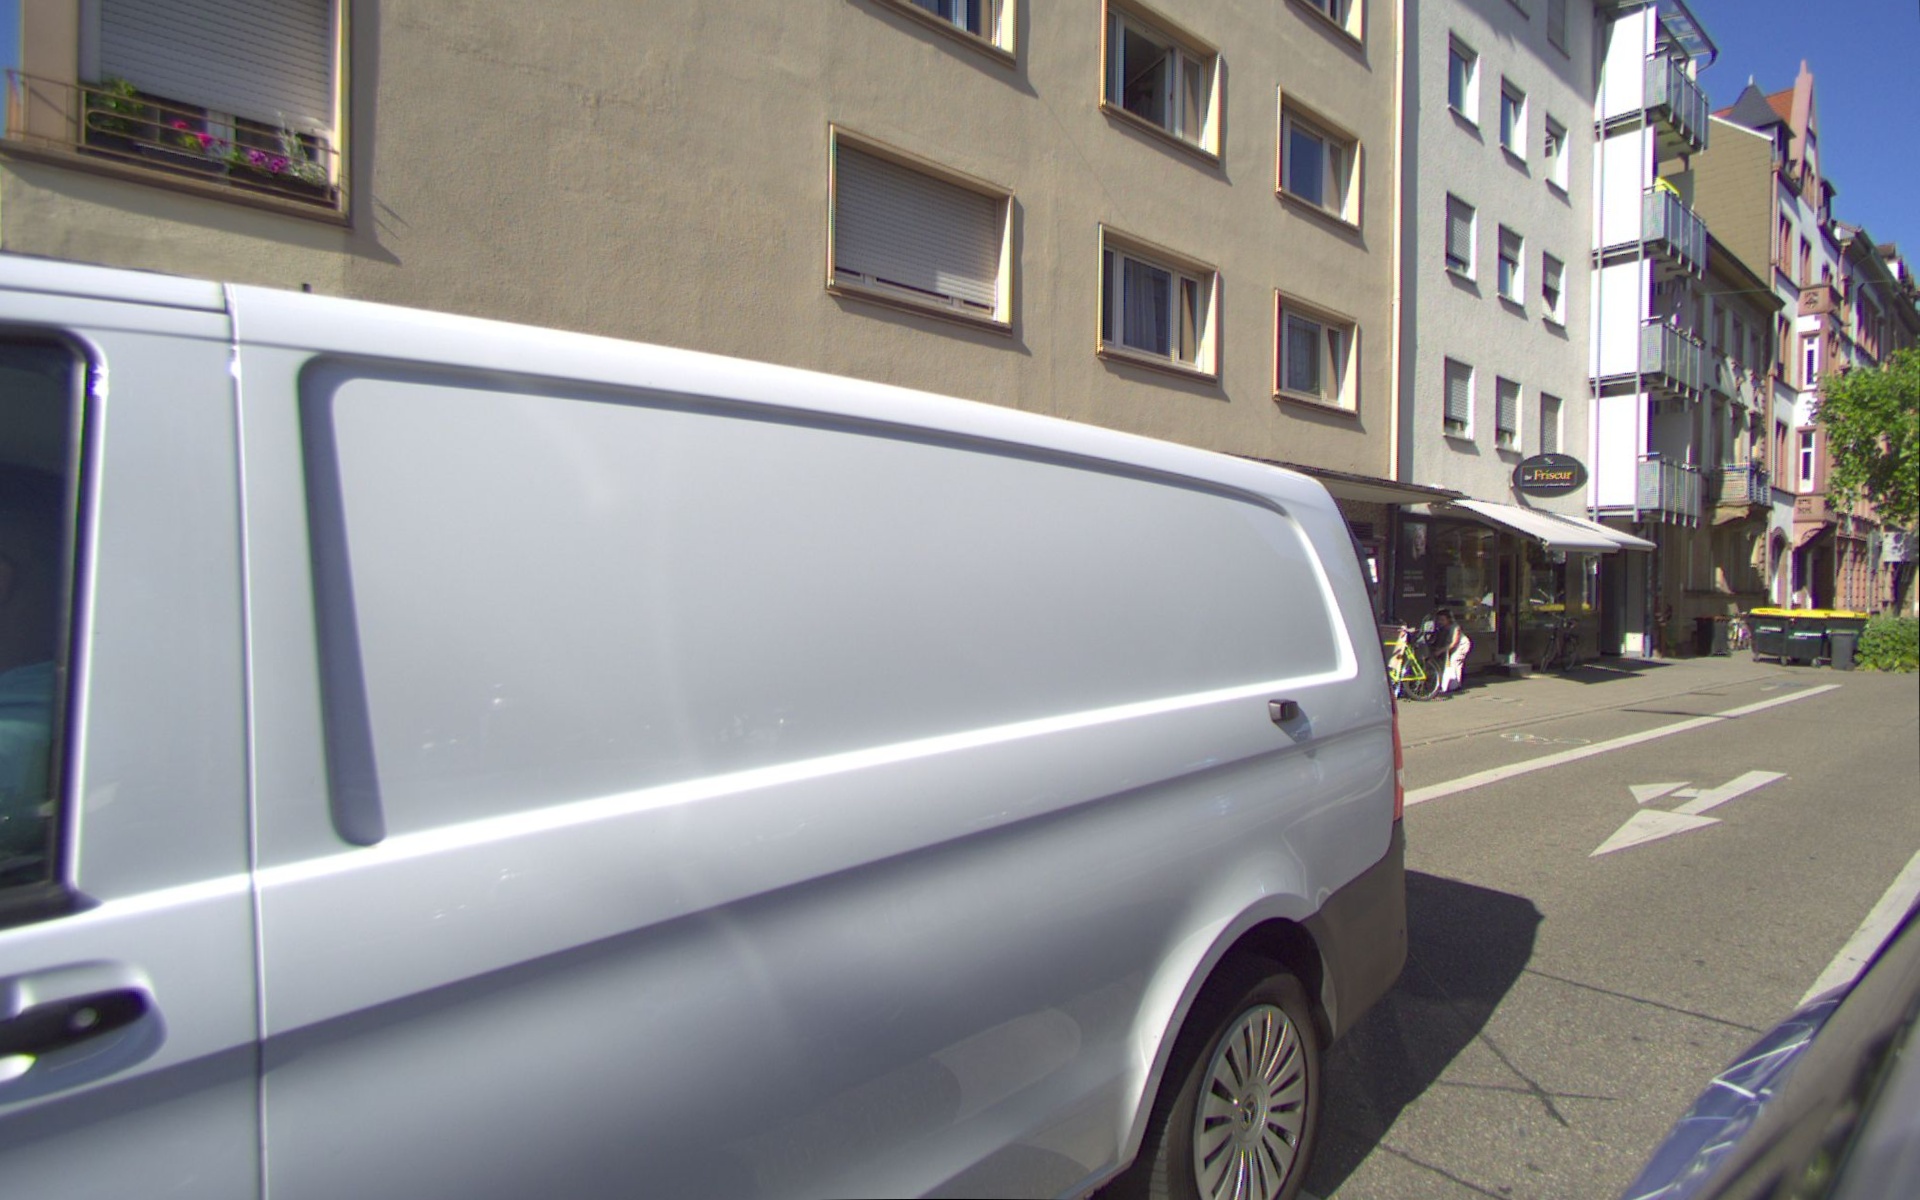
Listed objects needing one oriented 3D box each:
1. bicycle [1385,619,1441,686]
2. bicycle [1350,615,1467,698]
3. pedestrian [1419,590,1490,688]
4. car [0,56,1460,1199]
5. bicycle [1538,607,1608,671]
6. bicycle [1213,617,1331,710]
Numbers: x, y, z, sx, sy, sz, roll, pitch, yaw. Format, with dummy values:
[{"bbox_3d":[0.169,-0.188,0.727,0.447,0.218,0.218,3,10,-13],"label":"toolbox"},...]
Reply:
[{"bbox_3d":[7.138,0.808,15.919,1.155,0.995,0.375,0,0,-43],"label":"bicycle"},{"bbox_3d":[6.517,0.803,14.790,1.475,1.120,0.719,1,0,18],"label":"bicycle"},{"bbox_3d":[7.868,0.600,16.119,0.615,1.459,0.774,0,4,-45],"label":"pedestrian"},{"bbox_3d":[-1.110,0.472,1.806,4.749,1.833,1.971,0,1,-42],"label":"car"},{"bbox_3d":[12.001,0.733,19.795,1.742,1.157,0.598,0,3,-41],"label":"bicycle"},{"bbox_3d":[4.026,0.789,13.009,1.766,1.098,0.408,1,3,-35],"label":"bicycle"}]
